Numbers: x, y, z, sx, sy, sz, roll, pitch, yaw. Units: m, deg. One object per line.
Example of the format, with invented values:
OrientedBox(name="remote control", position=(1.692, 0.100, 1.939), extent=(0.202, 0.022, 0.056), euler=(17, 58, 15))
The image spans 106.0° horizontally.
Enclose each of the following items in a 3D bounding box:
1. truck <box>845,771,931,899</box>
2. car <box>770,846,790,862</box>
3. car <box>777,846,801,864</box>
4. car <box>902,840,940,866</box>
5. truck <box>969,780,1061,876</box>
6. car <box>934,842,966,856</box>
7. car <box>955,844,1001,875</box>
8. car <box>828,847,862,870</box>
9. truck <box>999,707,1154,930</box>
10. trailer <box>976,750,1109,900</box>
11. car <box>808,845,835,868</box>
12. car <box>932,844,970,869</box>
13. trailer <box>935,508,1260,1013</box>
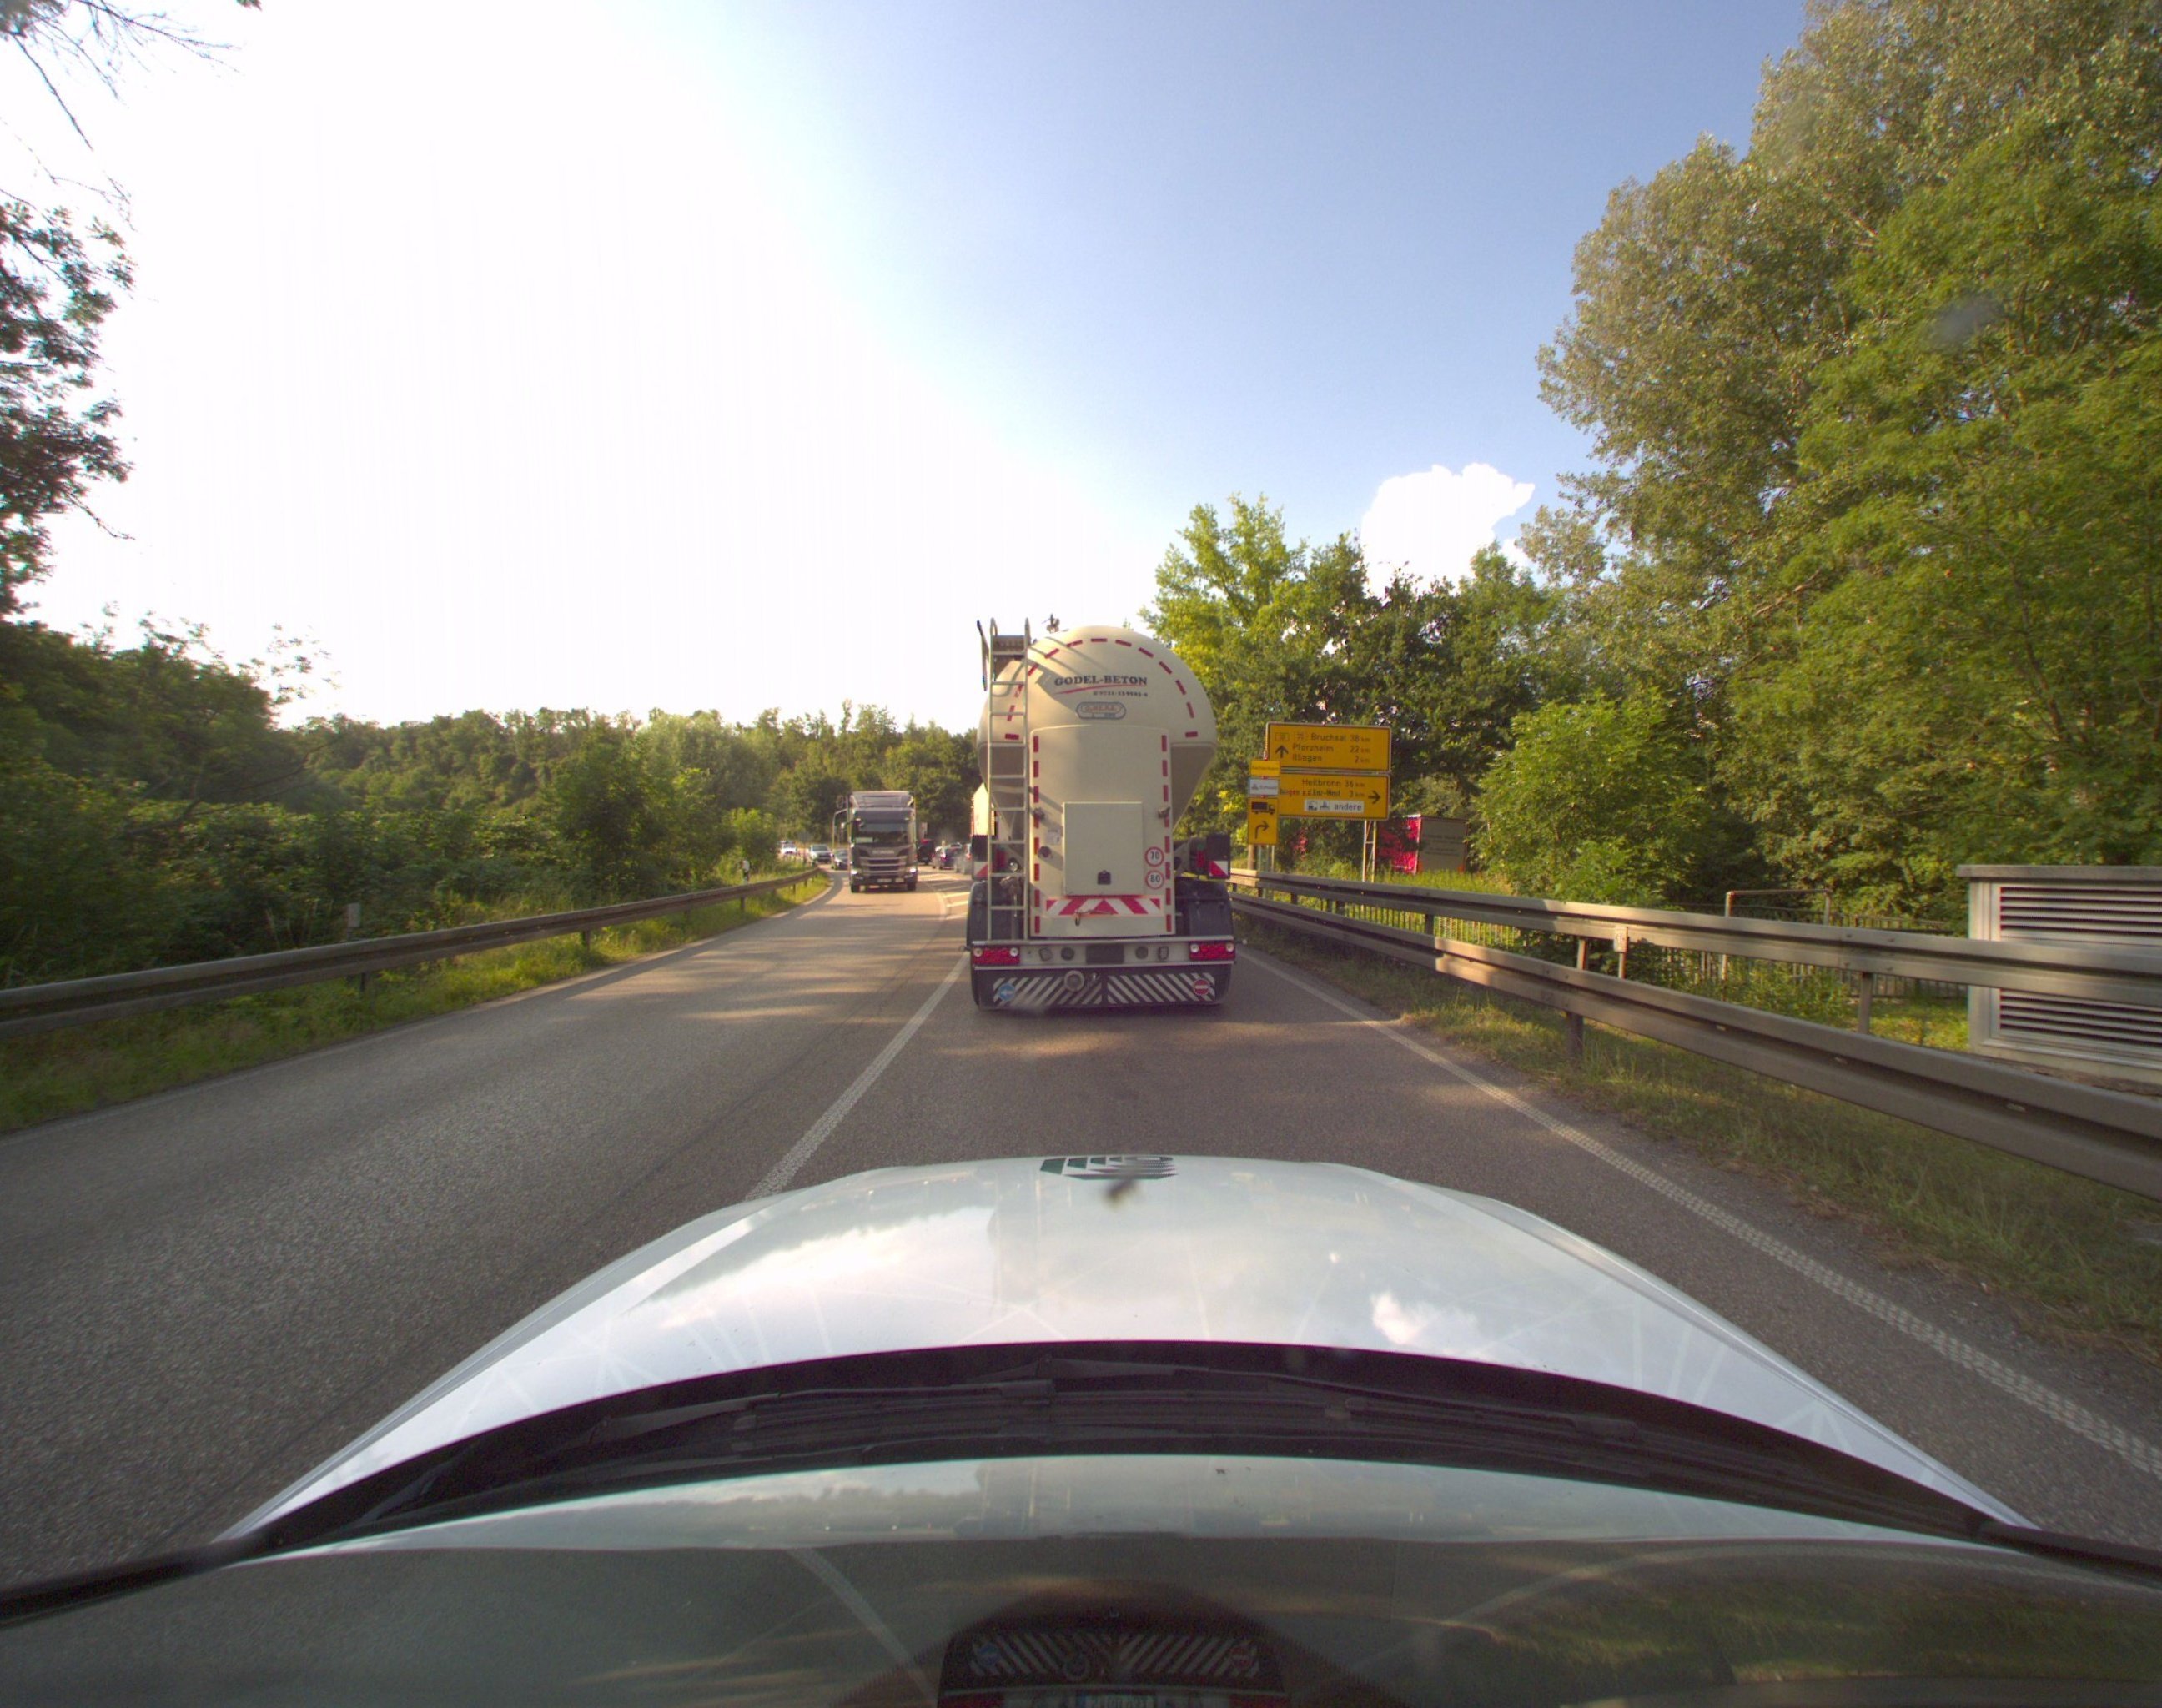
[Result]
OrientedBox(name="truck", position=(-8.402, -0.674, 34.392), extent=(3.019, 4.585, 10.184), euler=(0, 0, -16))
OrientedBox(name="car", position=(-36.270, 0.011, 98.064), extent=(1.871, 1.851, 3.979), euler=(2, 0, -15))
OrientedBox(name="car", position=(-31.631, 0.069, 88.075), extent=(1.878, 1.851, 3.965), euler=(2, 0, -27))
OrientedBox(name="car", position=(-12.389, -0.089, 62.967), extent=(1.966, 1.851, 3.968), euler=(-2, 1, -24))
OrientedBox(name="truck", position=(-3.242, -1.132, 38.114), extent=(3.453, 4.086, 6.464), euler=(0, 1, -12))
OrientedBox(name="car", position=(-18.929, -0.727, 117.836), extent=(4.017, 2.013, 1.978), euler=(2, 0, -36))
OrientedBox(name="car", position=(-5.907, 0.263, 46.248), extent=(1.873, 1.628, 3.976), euler=(-2, 1, -18))
OrientedBox(name="car", position=(-16.514, 0.298, 56.849), extent=(1.875, 1.556, 3.970), euler=(2, 0, -22))
OrientedBox(name="truck", position=(-0.309, -0.657, 17.772), extent=(2.819, 4.035, 5.884), euler=(0, 0, -5))
OrientedBox(name="trailer", position=(-1.967, -0.845, 31.126), extent=(3.545, 4.513, 12.940), euler=(1, 0, -10))
OrientedBox(name="car", position=(-22.205, 0.198, 69.672), extent=(1.875, 1.851, 3.970), euler=(2, 0, -22))
OrientedBox(name="car", position=(-8.686, 0.153, 54.101), extent=(1.873, 1.564, 3.975), euler=(-2, 1, -18))
OrientedBox(name="trailer", position=(-0.018, -0.830, 12.052), extent=(2.879, 4.454, 9.597), euler=(0, 0, -2))
